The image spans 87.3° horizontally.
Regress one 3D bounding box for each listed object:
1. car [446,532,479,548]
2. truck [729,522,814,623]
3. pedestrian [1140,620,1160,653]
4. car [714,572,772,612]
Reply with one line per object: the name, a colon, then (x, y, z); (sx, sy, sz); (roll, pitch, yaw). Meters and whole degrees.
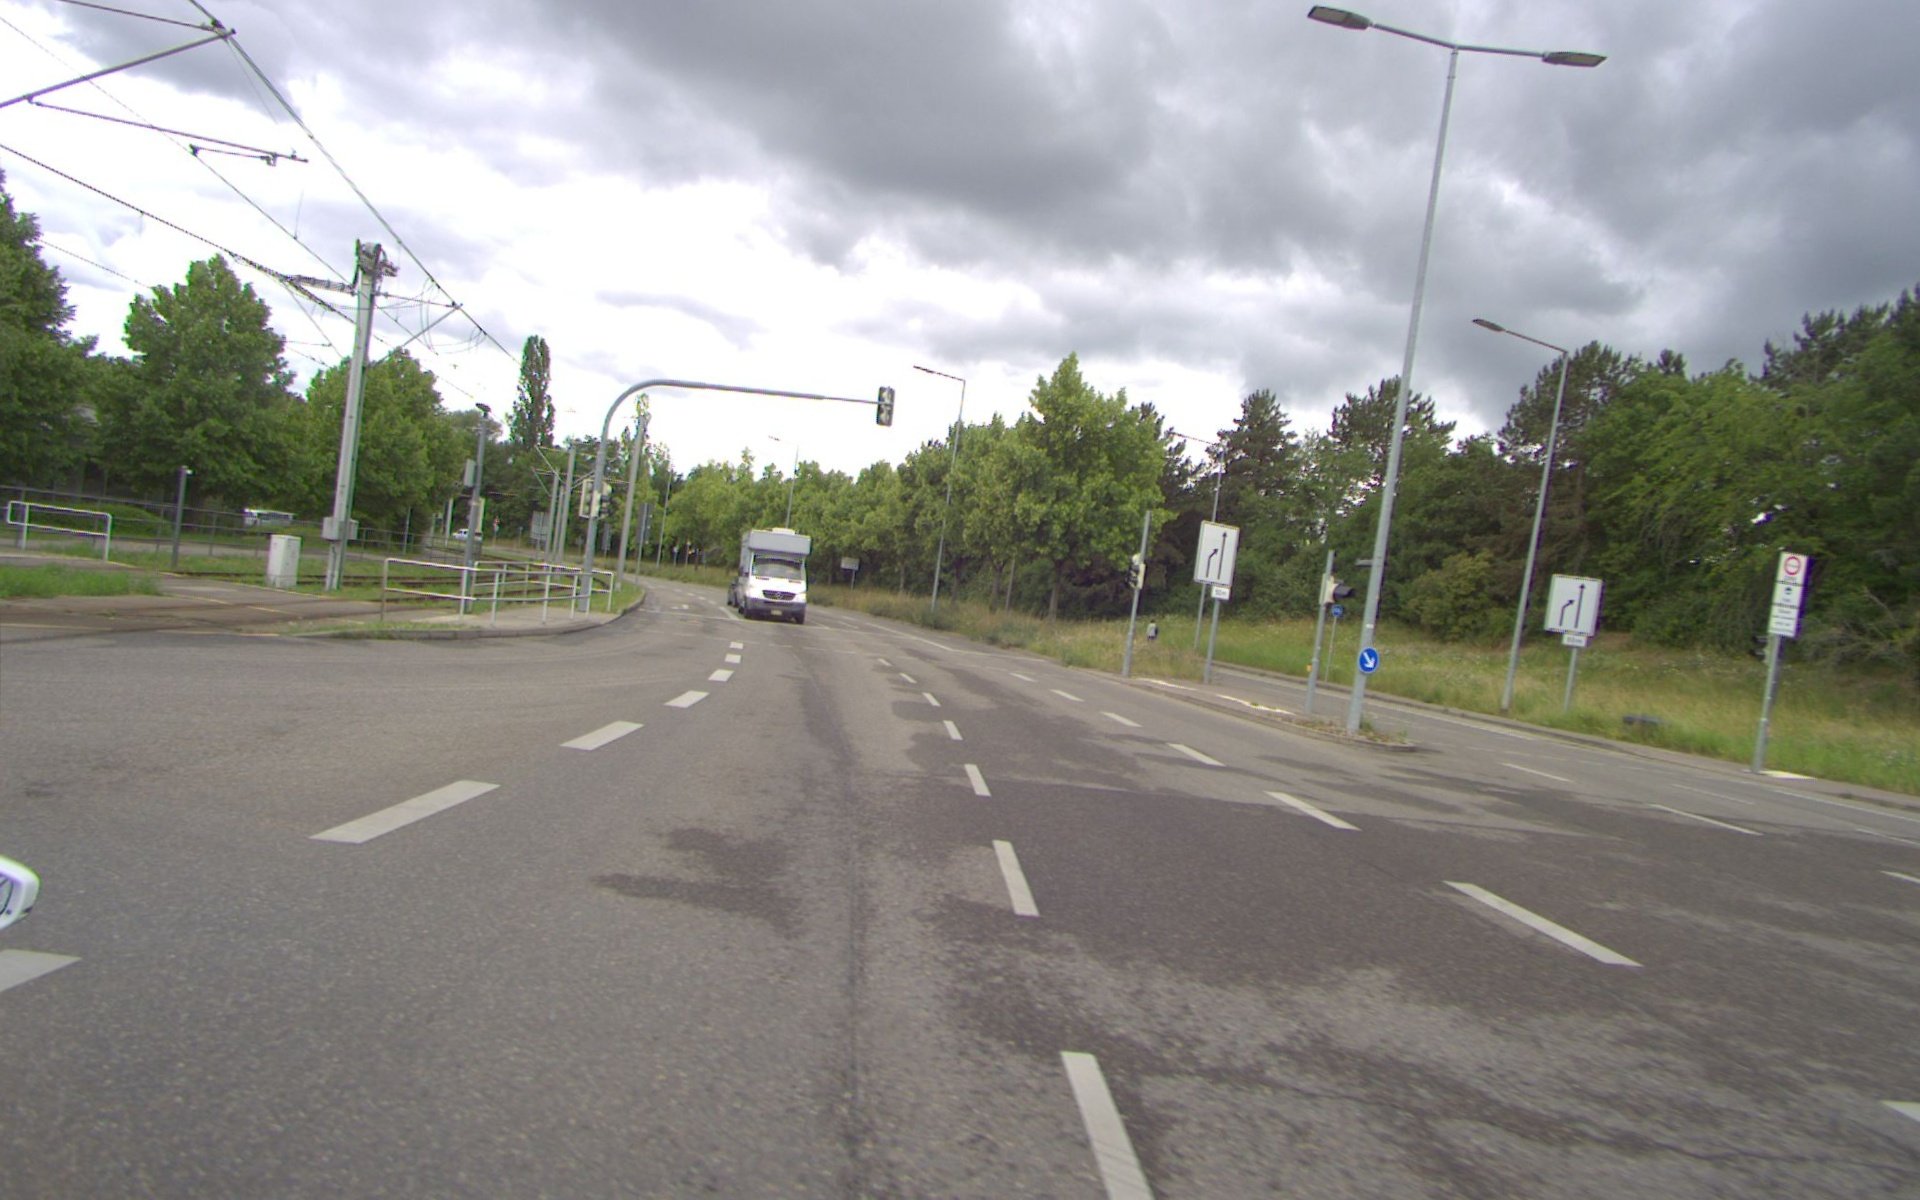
car: (-68.565, -8.279, 138.608); (3.660, 1.749, 1.999); (8, 1, 24)
truck: (-6.625, -0.938, 34.742); (2.078, 3.050, 6.250); (3, 1, -17)
pedestrian: (10.592, 2.029, 56.077); (0.728, 1.739, 0.624); (7, 1, -6)
car: (-9.403, -0.377, 43.390); (1.970, 1.415, 3.985); (7, 0, -17)
